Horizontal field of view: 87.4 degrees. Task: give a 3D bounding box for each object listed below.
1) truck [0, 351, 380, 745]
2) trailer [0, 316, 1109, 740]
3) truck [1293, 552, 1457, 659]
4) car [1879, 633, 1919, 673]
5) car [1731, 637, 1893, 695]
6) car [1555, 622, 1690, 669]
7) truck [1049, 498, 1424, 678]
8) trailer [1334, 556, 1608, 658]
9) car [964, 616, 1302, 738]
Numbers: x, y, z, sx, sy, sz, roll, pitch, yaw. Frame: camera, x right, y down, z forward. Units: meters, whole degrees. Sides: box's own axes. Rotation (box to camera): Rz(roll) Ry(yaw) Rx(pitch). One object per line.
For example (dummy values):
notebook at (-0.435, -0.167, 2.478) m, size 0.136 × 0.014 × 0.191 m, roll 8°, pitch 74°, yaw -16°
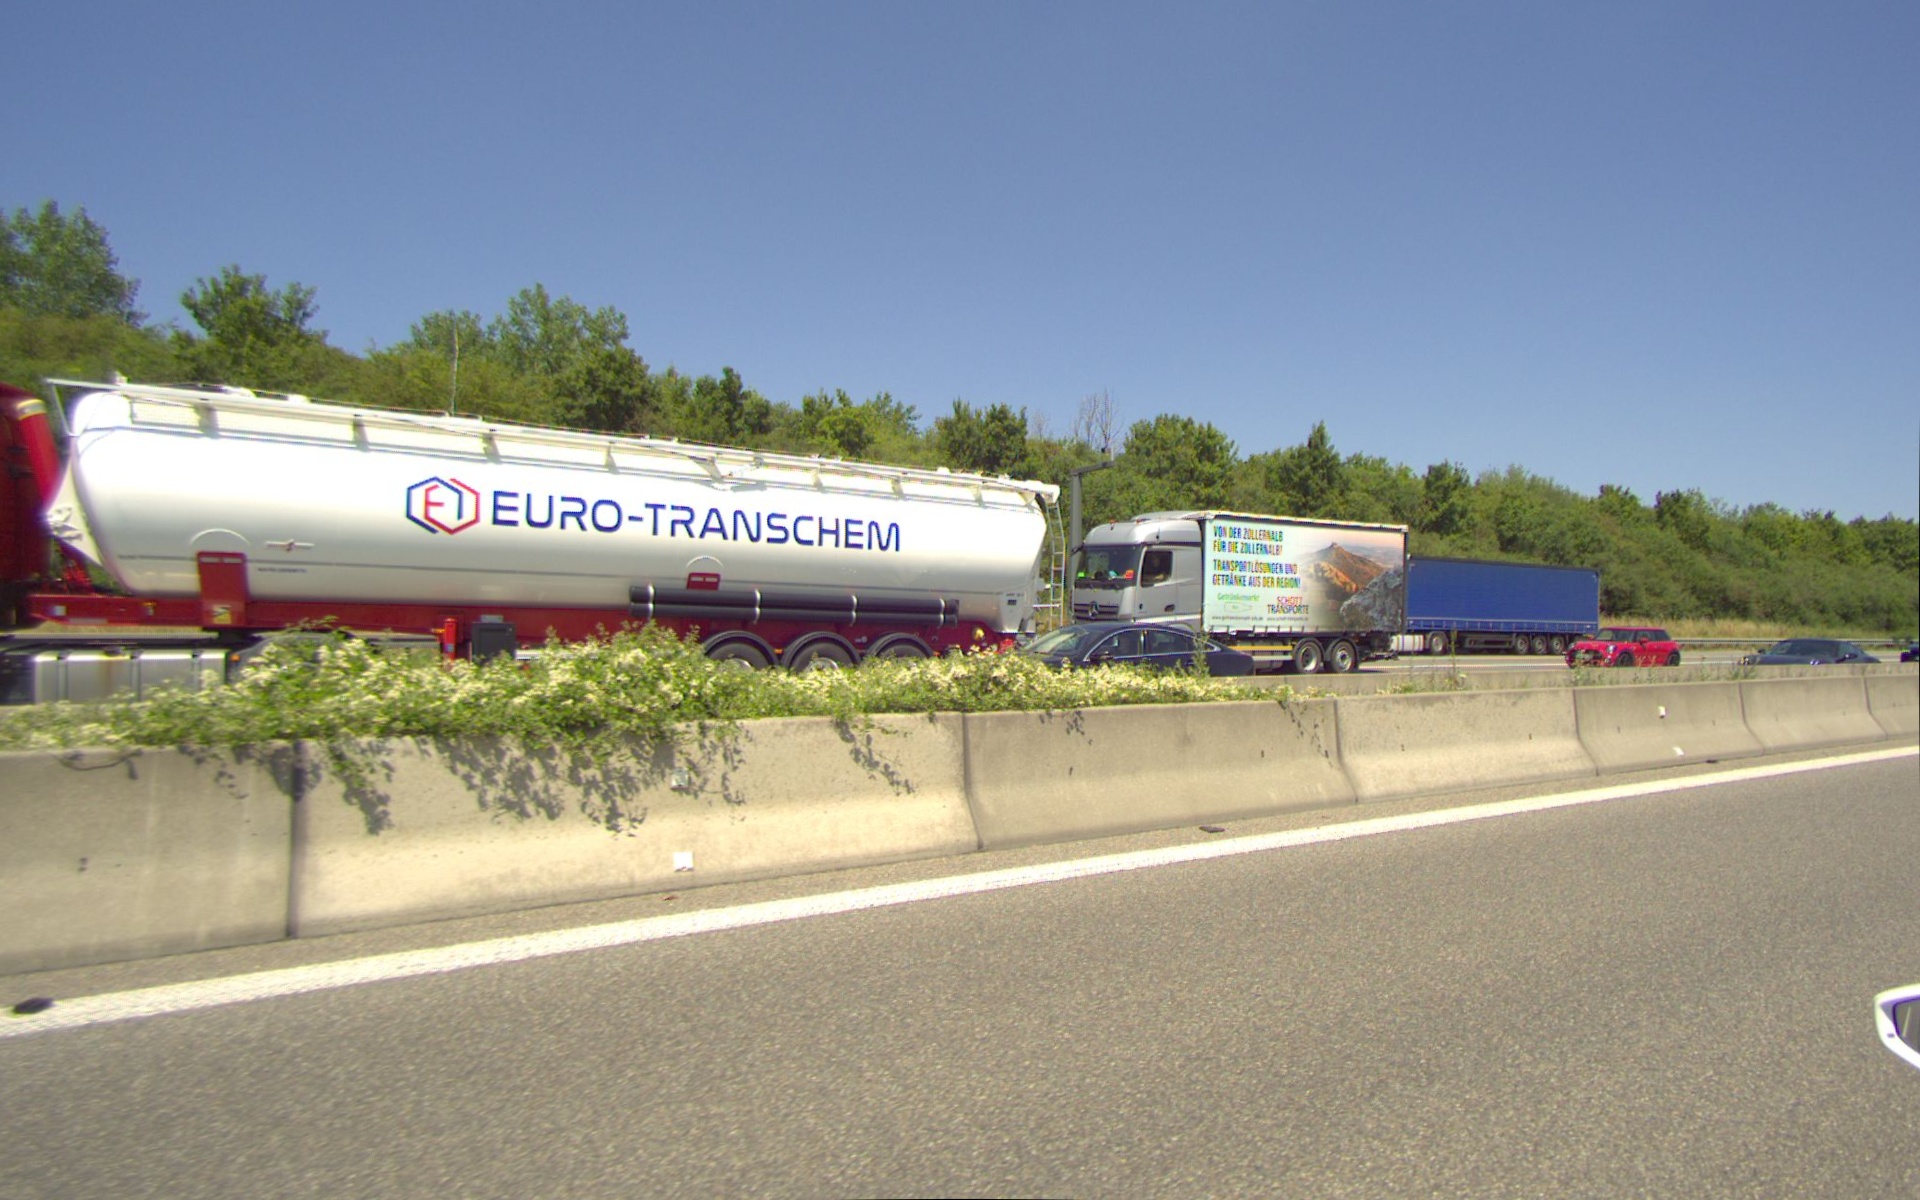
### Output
truck at (-10.119, -0.528, 11.392) m, size 6.015 × 3.933 × 2.869 m, roll 2°, pitch 0°, yaw -30°
trailer at (-4.263, -0.530, 14.832) m, size 14.007 × 4.220 × 2.923 m, roll 2°, pitch 0°, yaw -31°
truck at (16.987, 0.246, 41.069) m, size 6.019 × 4.083 × 3.075 m, roll 1°, pitch 0°, yaw -29°
car at (38.264, 2.083, 39.161) m, size 4.565 × 1.469 × 1.874 m, roll 1°, pitch -1°, yaw -23°
car at (21.261, 1.614, 25.049) m, size 4.171 × 1.293 × 1.783 m, roll 2°, pitch -1°, yaw -30°
car at (21.371, 1.465, 32.407) m, size 4.154 × 1.423 × 1.742 m, roll 1°, pitch -1°, yaw -25°
truck at (7.381, -0.163, 25.987) m, size 10.230 × 3.969 × 2.996 m, roll 1°, pitch -1°, yaw -29°
trailer at (22.768, 0.349, 44.223) m, size 14.310 × 4.024 × 3.068 m, roll 1°, pitch 0°, yaw -28°
car at (2.577, 1.045, 14.566) m, size 4.776 × 1.489 × 1.834 m, roll 2°, pitch 0°, yaw -30°
